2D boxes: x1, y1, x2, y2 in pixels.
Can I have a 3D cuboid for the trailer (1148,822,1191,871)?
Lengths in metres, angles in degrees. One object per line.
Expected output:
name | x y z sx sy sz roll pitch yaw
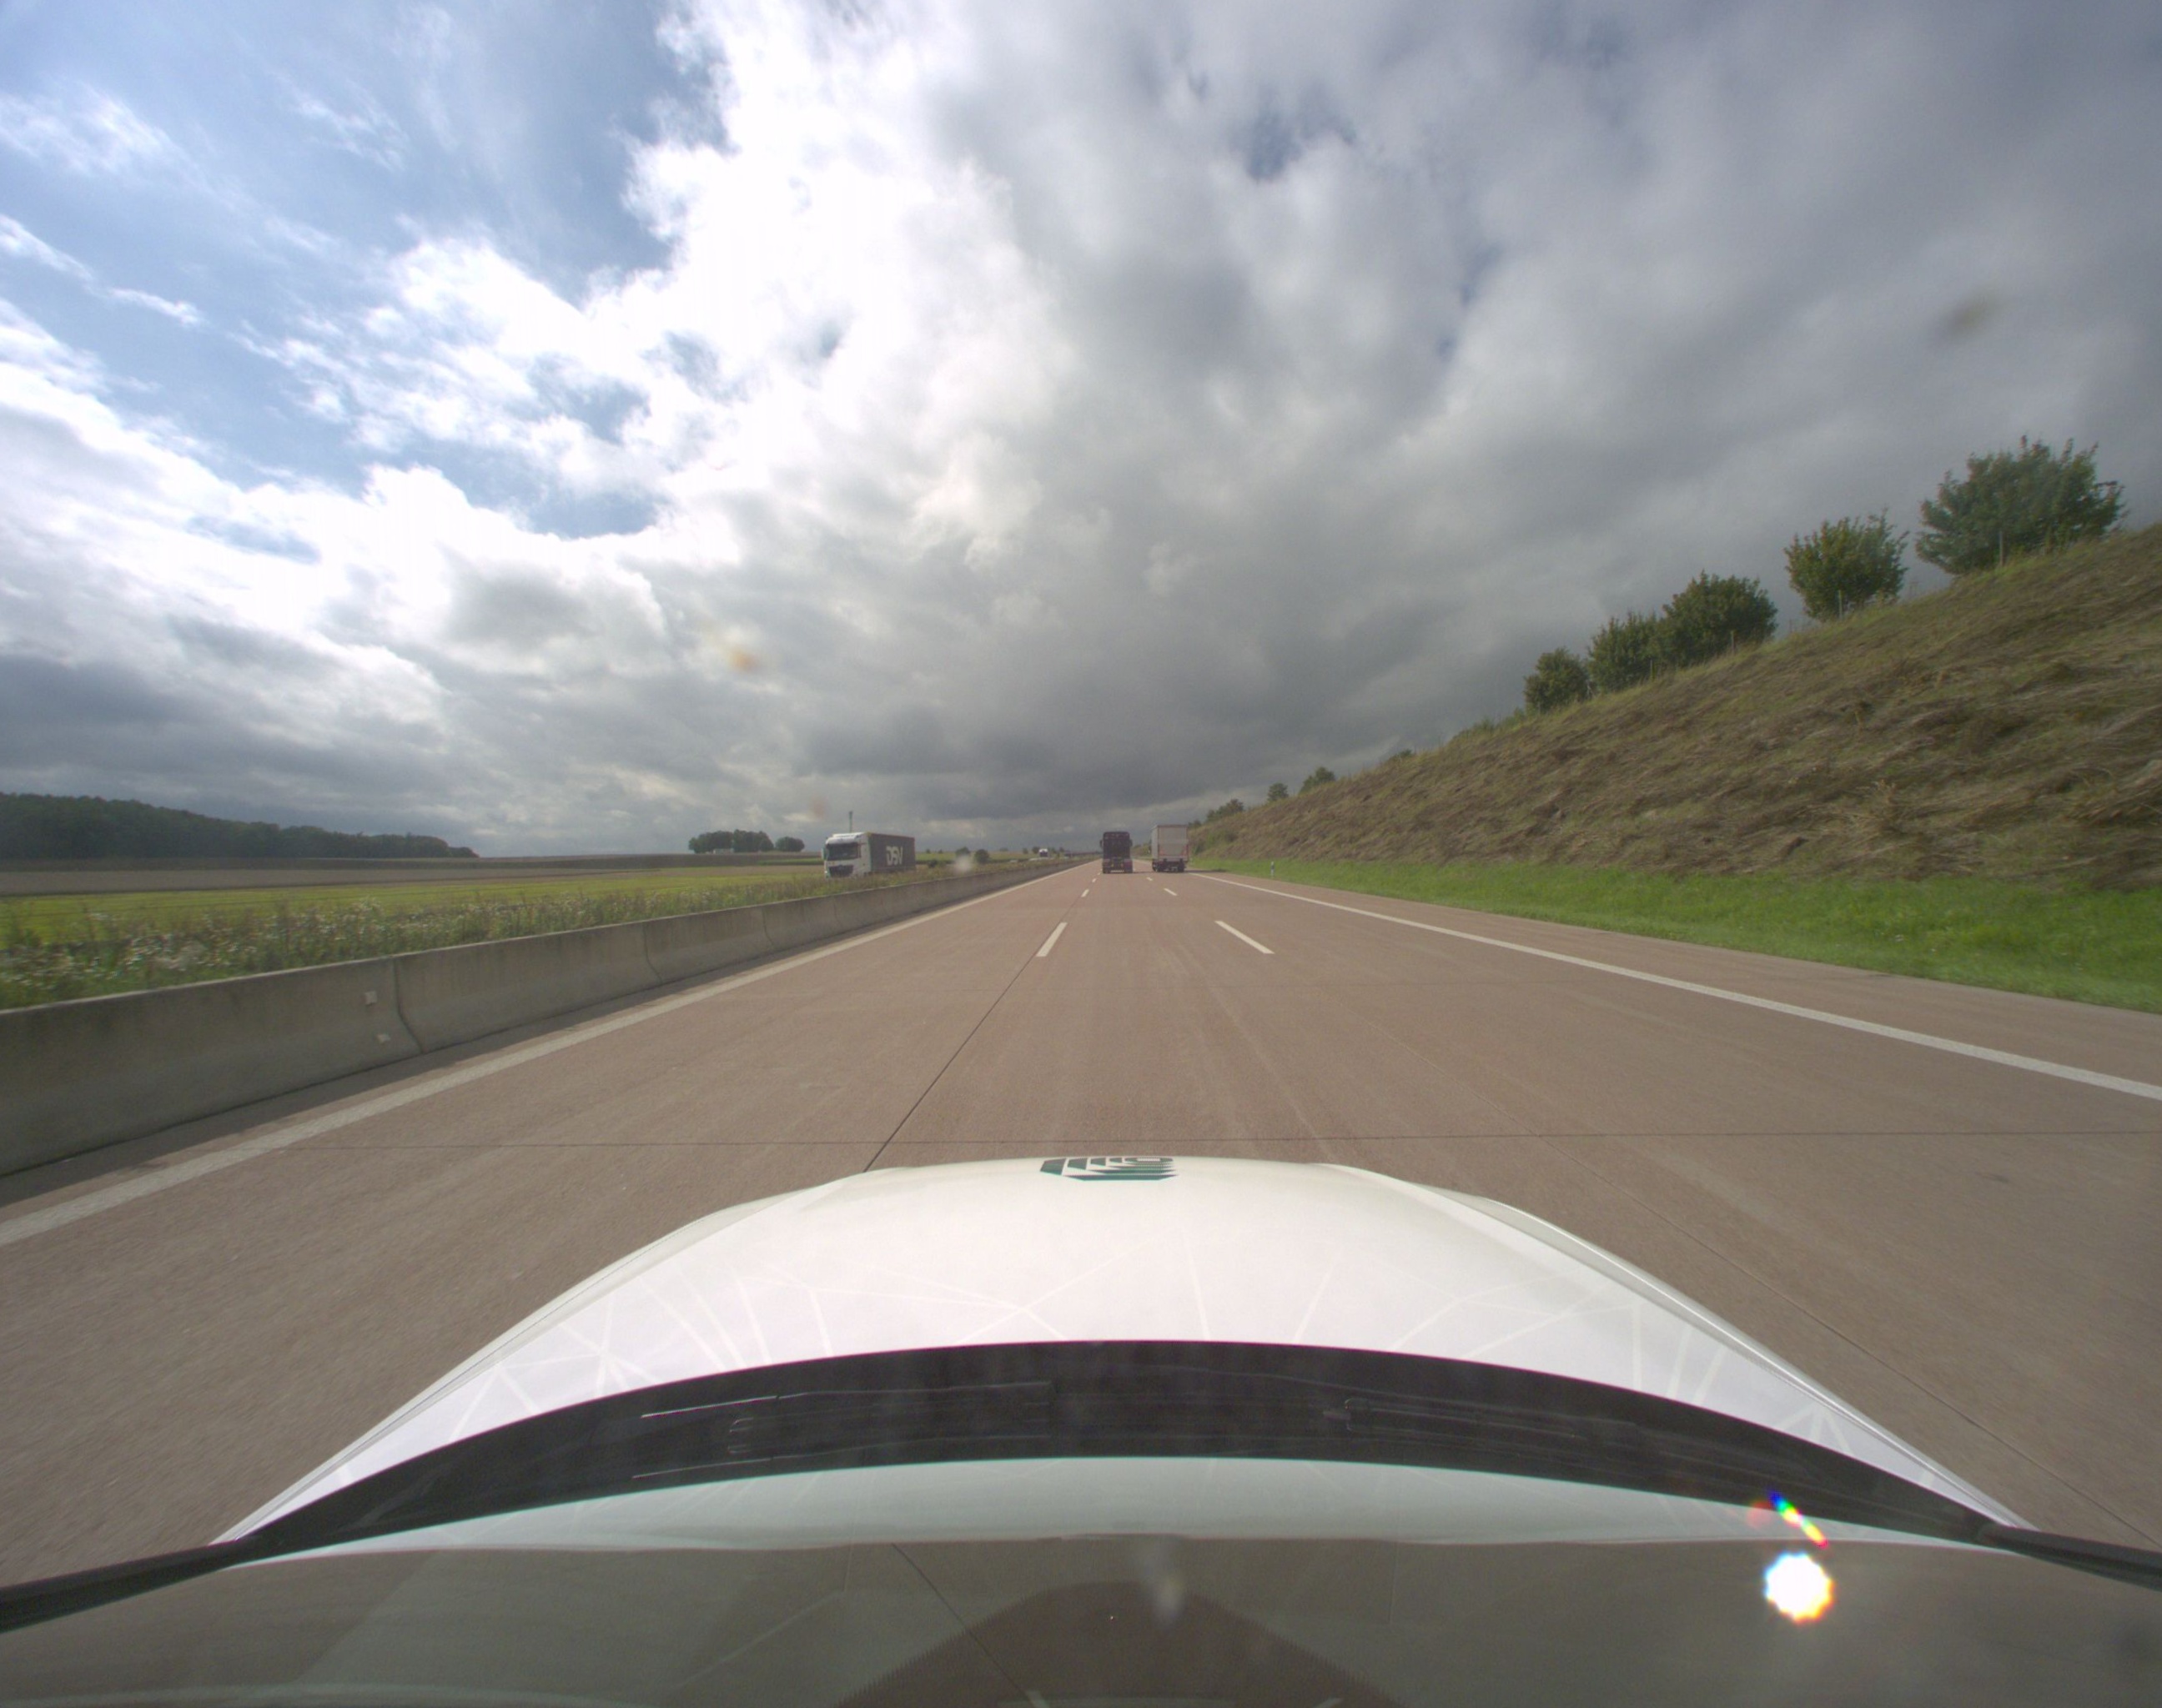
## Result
trailer | 7.583 -0.571 70.714 2.738 4.012 8.670 -1 -1 0

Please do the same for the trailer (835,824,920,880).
trailer | -16.097 -0.140 65.952 2.760 3.959 14.335 -2 0 1

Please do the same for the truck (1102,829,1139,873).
truck | 3.309 -0.211 70.590 2.838 3.550 8.319 -1 0 1

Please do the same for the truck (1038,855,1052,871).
truck | -9.854 2.462 222.813 3.193 4.098 6.131 0 0 3

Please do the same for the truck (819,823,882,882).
truck | -16.291 -0.104 57.907 2.760 3.959 5.292 -2 0 1

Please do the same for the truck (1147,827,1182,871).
truck | 7.614 -0.430 75.096 2.740 3.892 4.545 -1 -1 0
